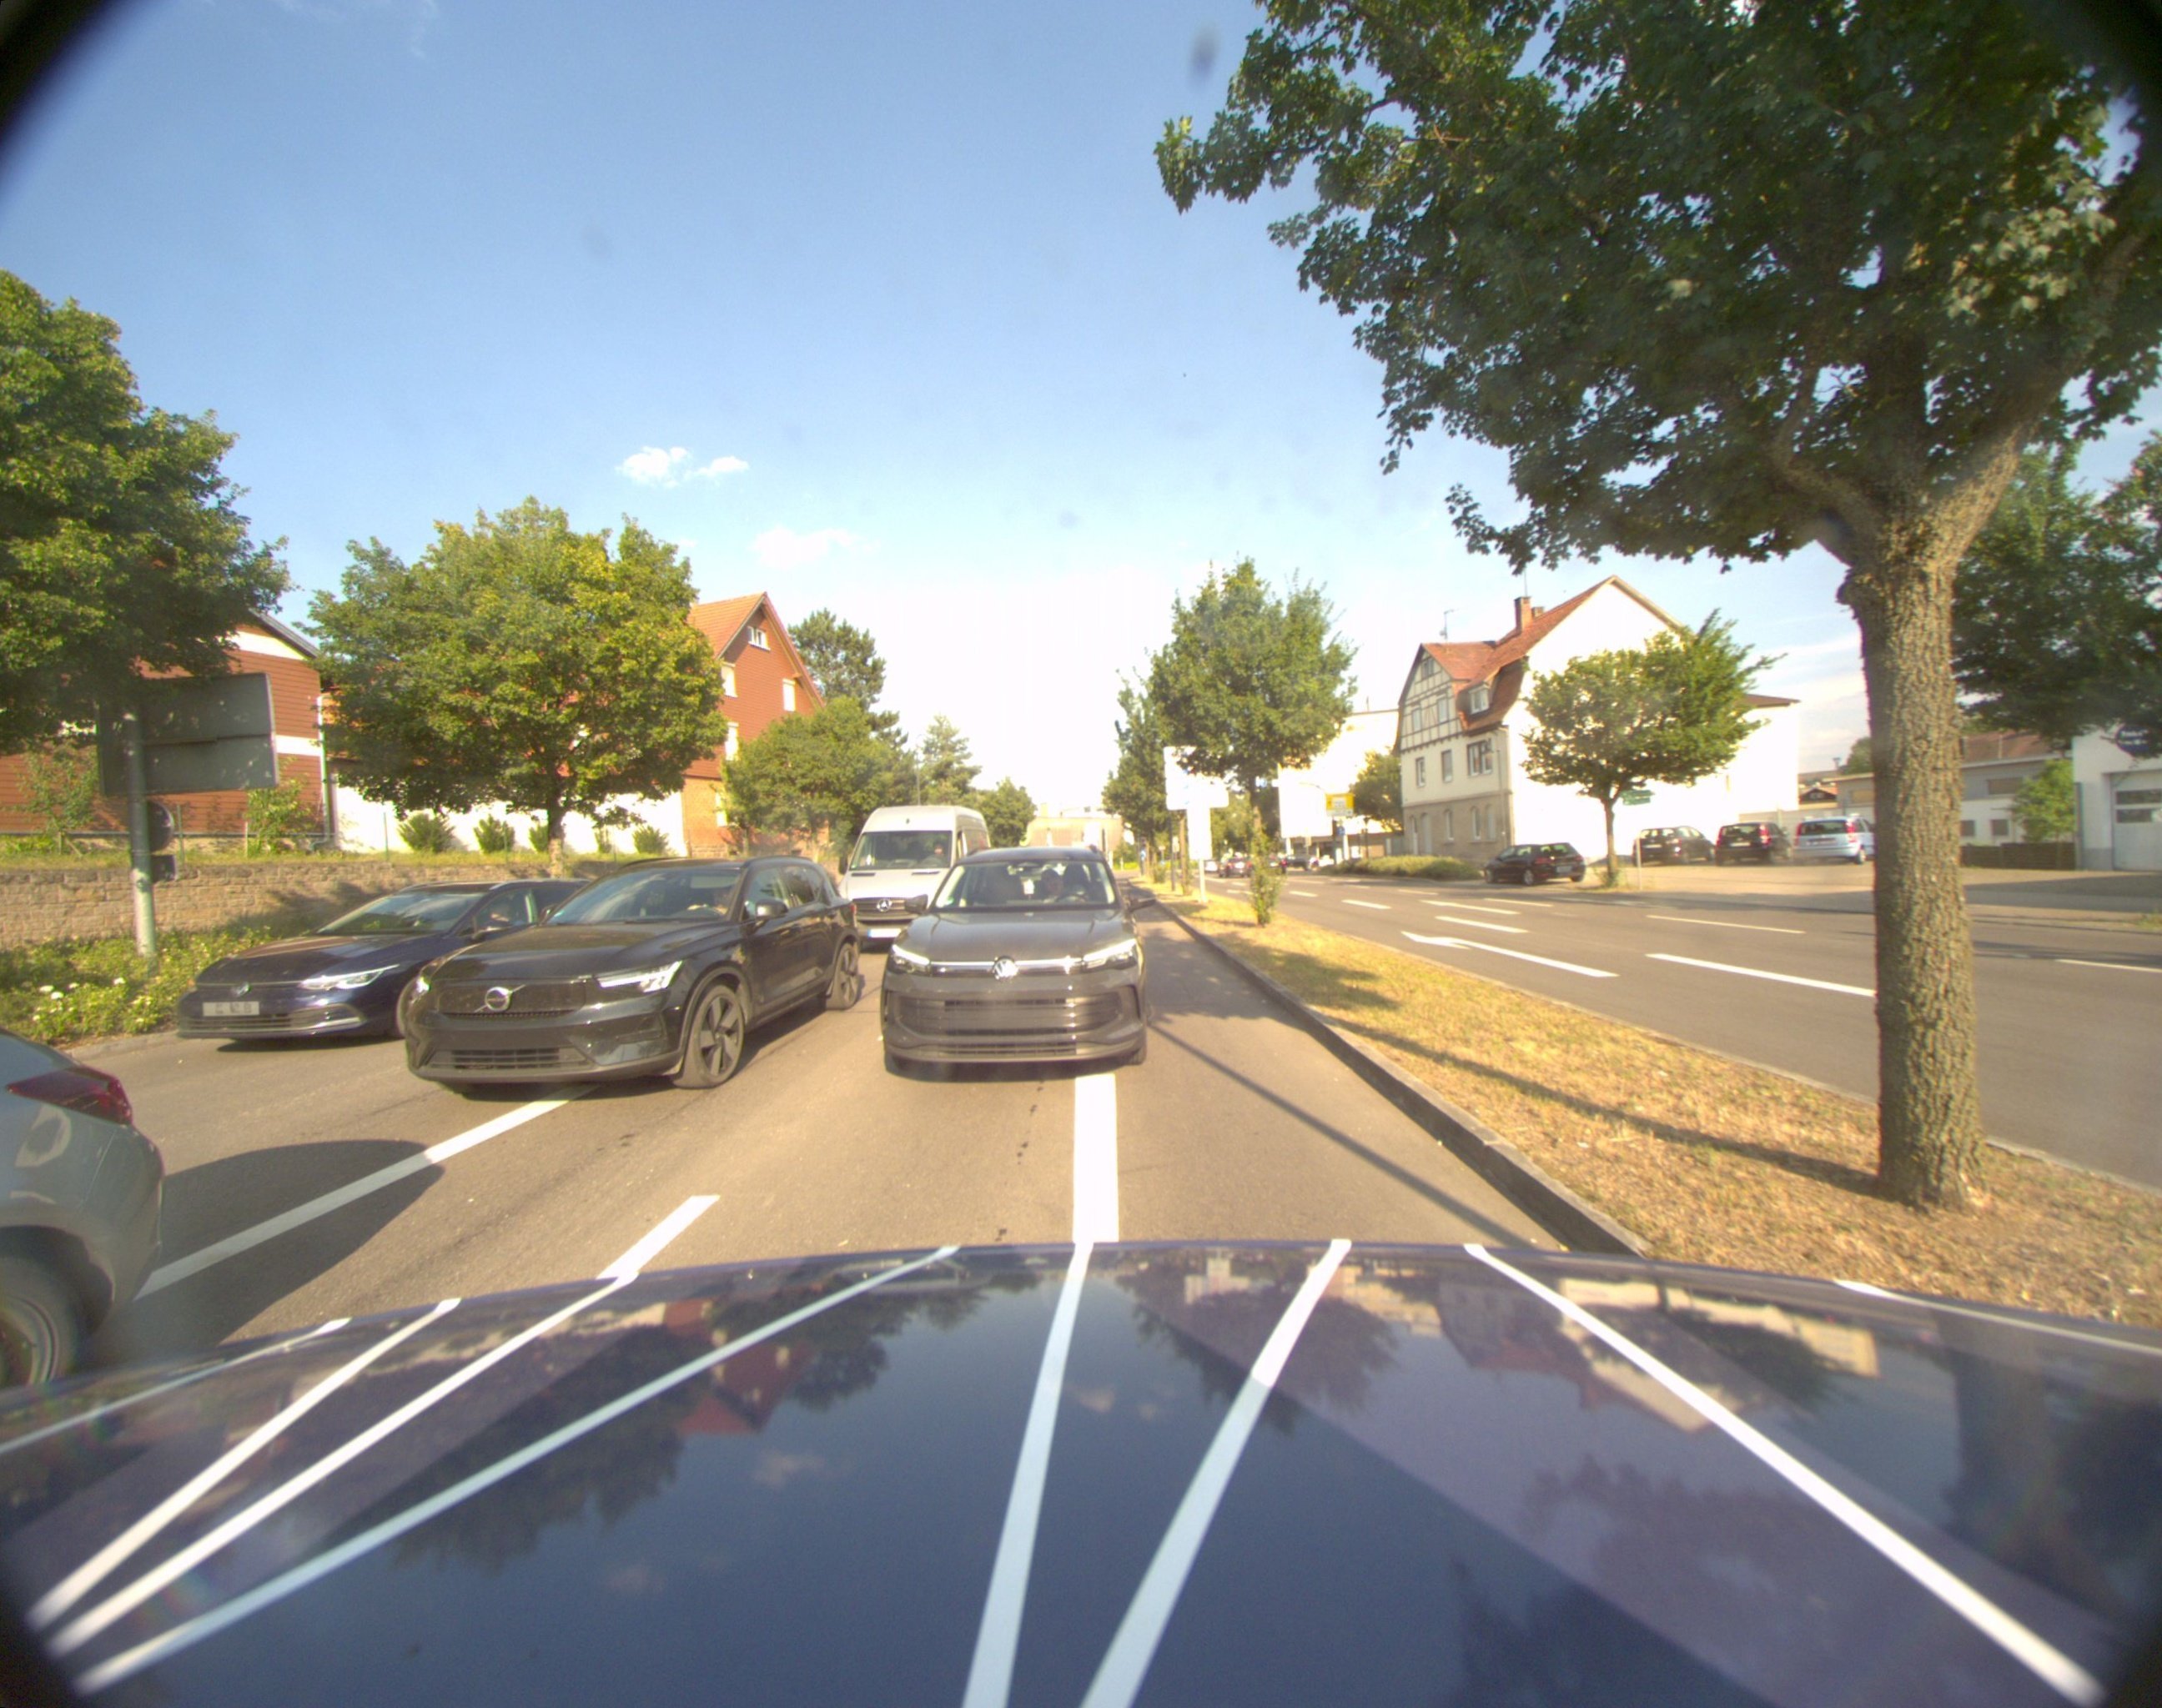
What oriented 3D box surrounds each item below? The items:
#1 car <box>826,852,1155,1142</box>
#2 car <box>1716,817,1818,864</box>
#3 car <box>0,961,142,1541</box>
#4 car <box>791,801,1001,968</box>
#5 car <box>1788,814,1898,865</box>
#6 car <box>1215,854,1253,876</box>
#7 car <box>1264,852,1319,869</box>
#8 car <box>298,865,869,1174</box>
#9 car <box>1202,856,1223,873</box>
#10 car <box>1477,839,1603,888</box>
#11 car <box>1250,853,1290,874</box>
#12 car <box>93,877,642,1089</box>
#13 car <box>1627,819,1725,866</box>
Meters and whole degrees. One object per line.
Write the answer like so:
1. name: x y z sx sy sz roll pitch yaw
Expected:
1. car: -0.478 0.847 6.867 1.894 1.647 4.730 -2 0 1
2. car: 24.928 -0.488 27.578 4.006 1.543 1.763 -2 1 -33
3. car: -3.643 1.066 0.119 1.748 1.433 4.166 -2 0 0
4. car: -3.217 0.460 14.979 2.370 2.532 6.192 -2 0 2
5. car: 24.990 -0.487 24.896 4.006 1.543 1.763 -2 1 -33
6. car: 10.441 0.738 52.016 1.649 1.378 4.189 -2 0 -1
7. car: 19.170 0.628 69.379 4.660 1.346 1.768 -2 1 9
8. car: -3.367 0.964 6.321 1.886 1.599 4.128 -2 0 2
9. car: 11.950 0.930 68.954 1.783 1.341 4.482 -2 0 11
10. car: 16.001 0.309 26.795 1.839 1.435 4.195 -5 0 1
11. car: 14.023 0.647 56.501 1.848 1.413 4.644 -2 0 1
12. car: -6.983 1.112 8.236 1.820 1.510 4.201 -2 0 2
13. car: 23.401 -0.453 29.862 4.006 1.543 1.764 -4 1 -33
